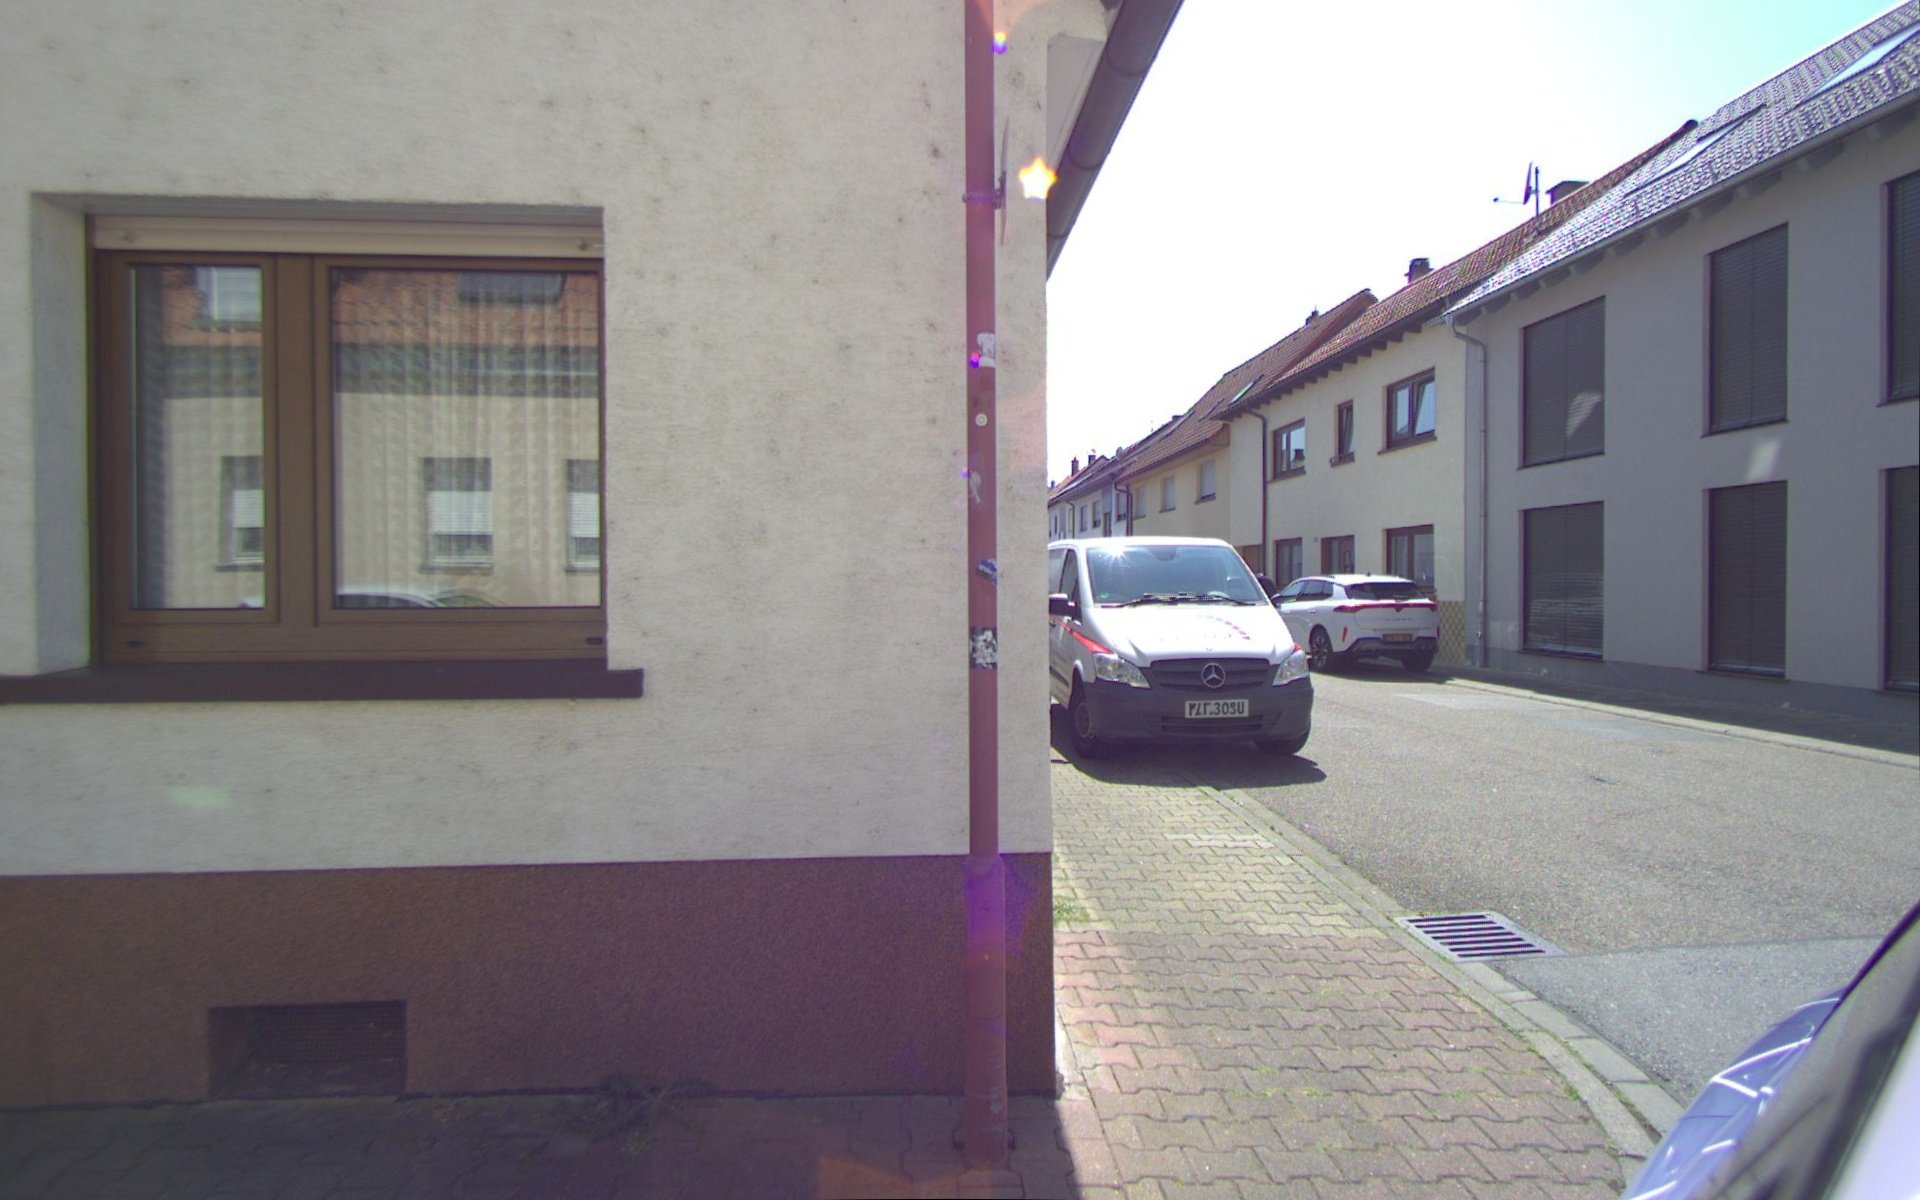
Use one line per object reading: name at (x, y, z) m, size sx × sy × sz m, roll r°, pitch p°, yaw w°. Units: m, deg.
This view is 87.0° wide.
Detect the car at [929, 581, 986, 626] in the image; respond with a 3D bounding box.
car at (-0.149, 0.075, 36.358) m, size 1.668 × 1.453 × 4.107 m, roll -1°, pitch 1°, yaw -5°

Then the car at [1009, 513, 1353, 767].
car at (1.805, 0.237, 10.242) m, size 1.979 × 1.861 × 5.270 m, roll -1°, pitch 1°, yaw -4°

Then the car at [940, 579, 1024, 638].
car at (0.528, 0.166, 28.451) m, size 1.808 × 1.466 × 4.781 m, roll -1°, pitch 1°, yaw -5°

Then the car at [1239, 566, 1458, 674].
car at (6.553, 0.263, 17.644) m, size 1.744 × 1.635 × 4.355 m, roll 1°, pitch 1°, yaw -6°

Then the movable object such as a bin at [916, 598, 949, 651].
movable object such as a bin at (-0.578, 0.500, 21.164) m, size 0.647 × 1.084 × 0.814 m, roll 0°, pitch 1°, yaw -5°

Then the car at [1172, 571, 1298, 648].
car at (6.331, 0.166, 23.712) m, size 1.694 × 1.635 × 3.992 m, roll 1°, pitch 1°, yaw -2°
